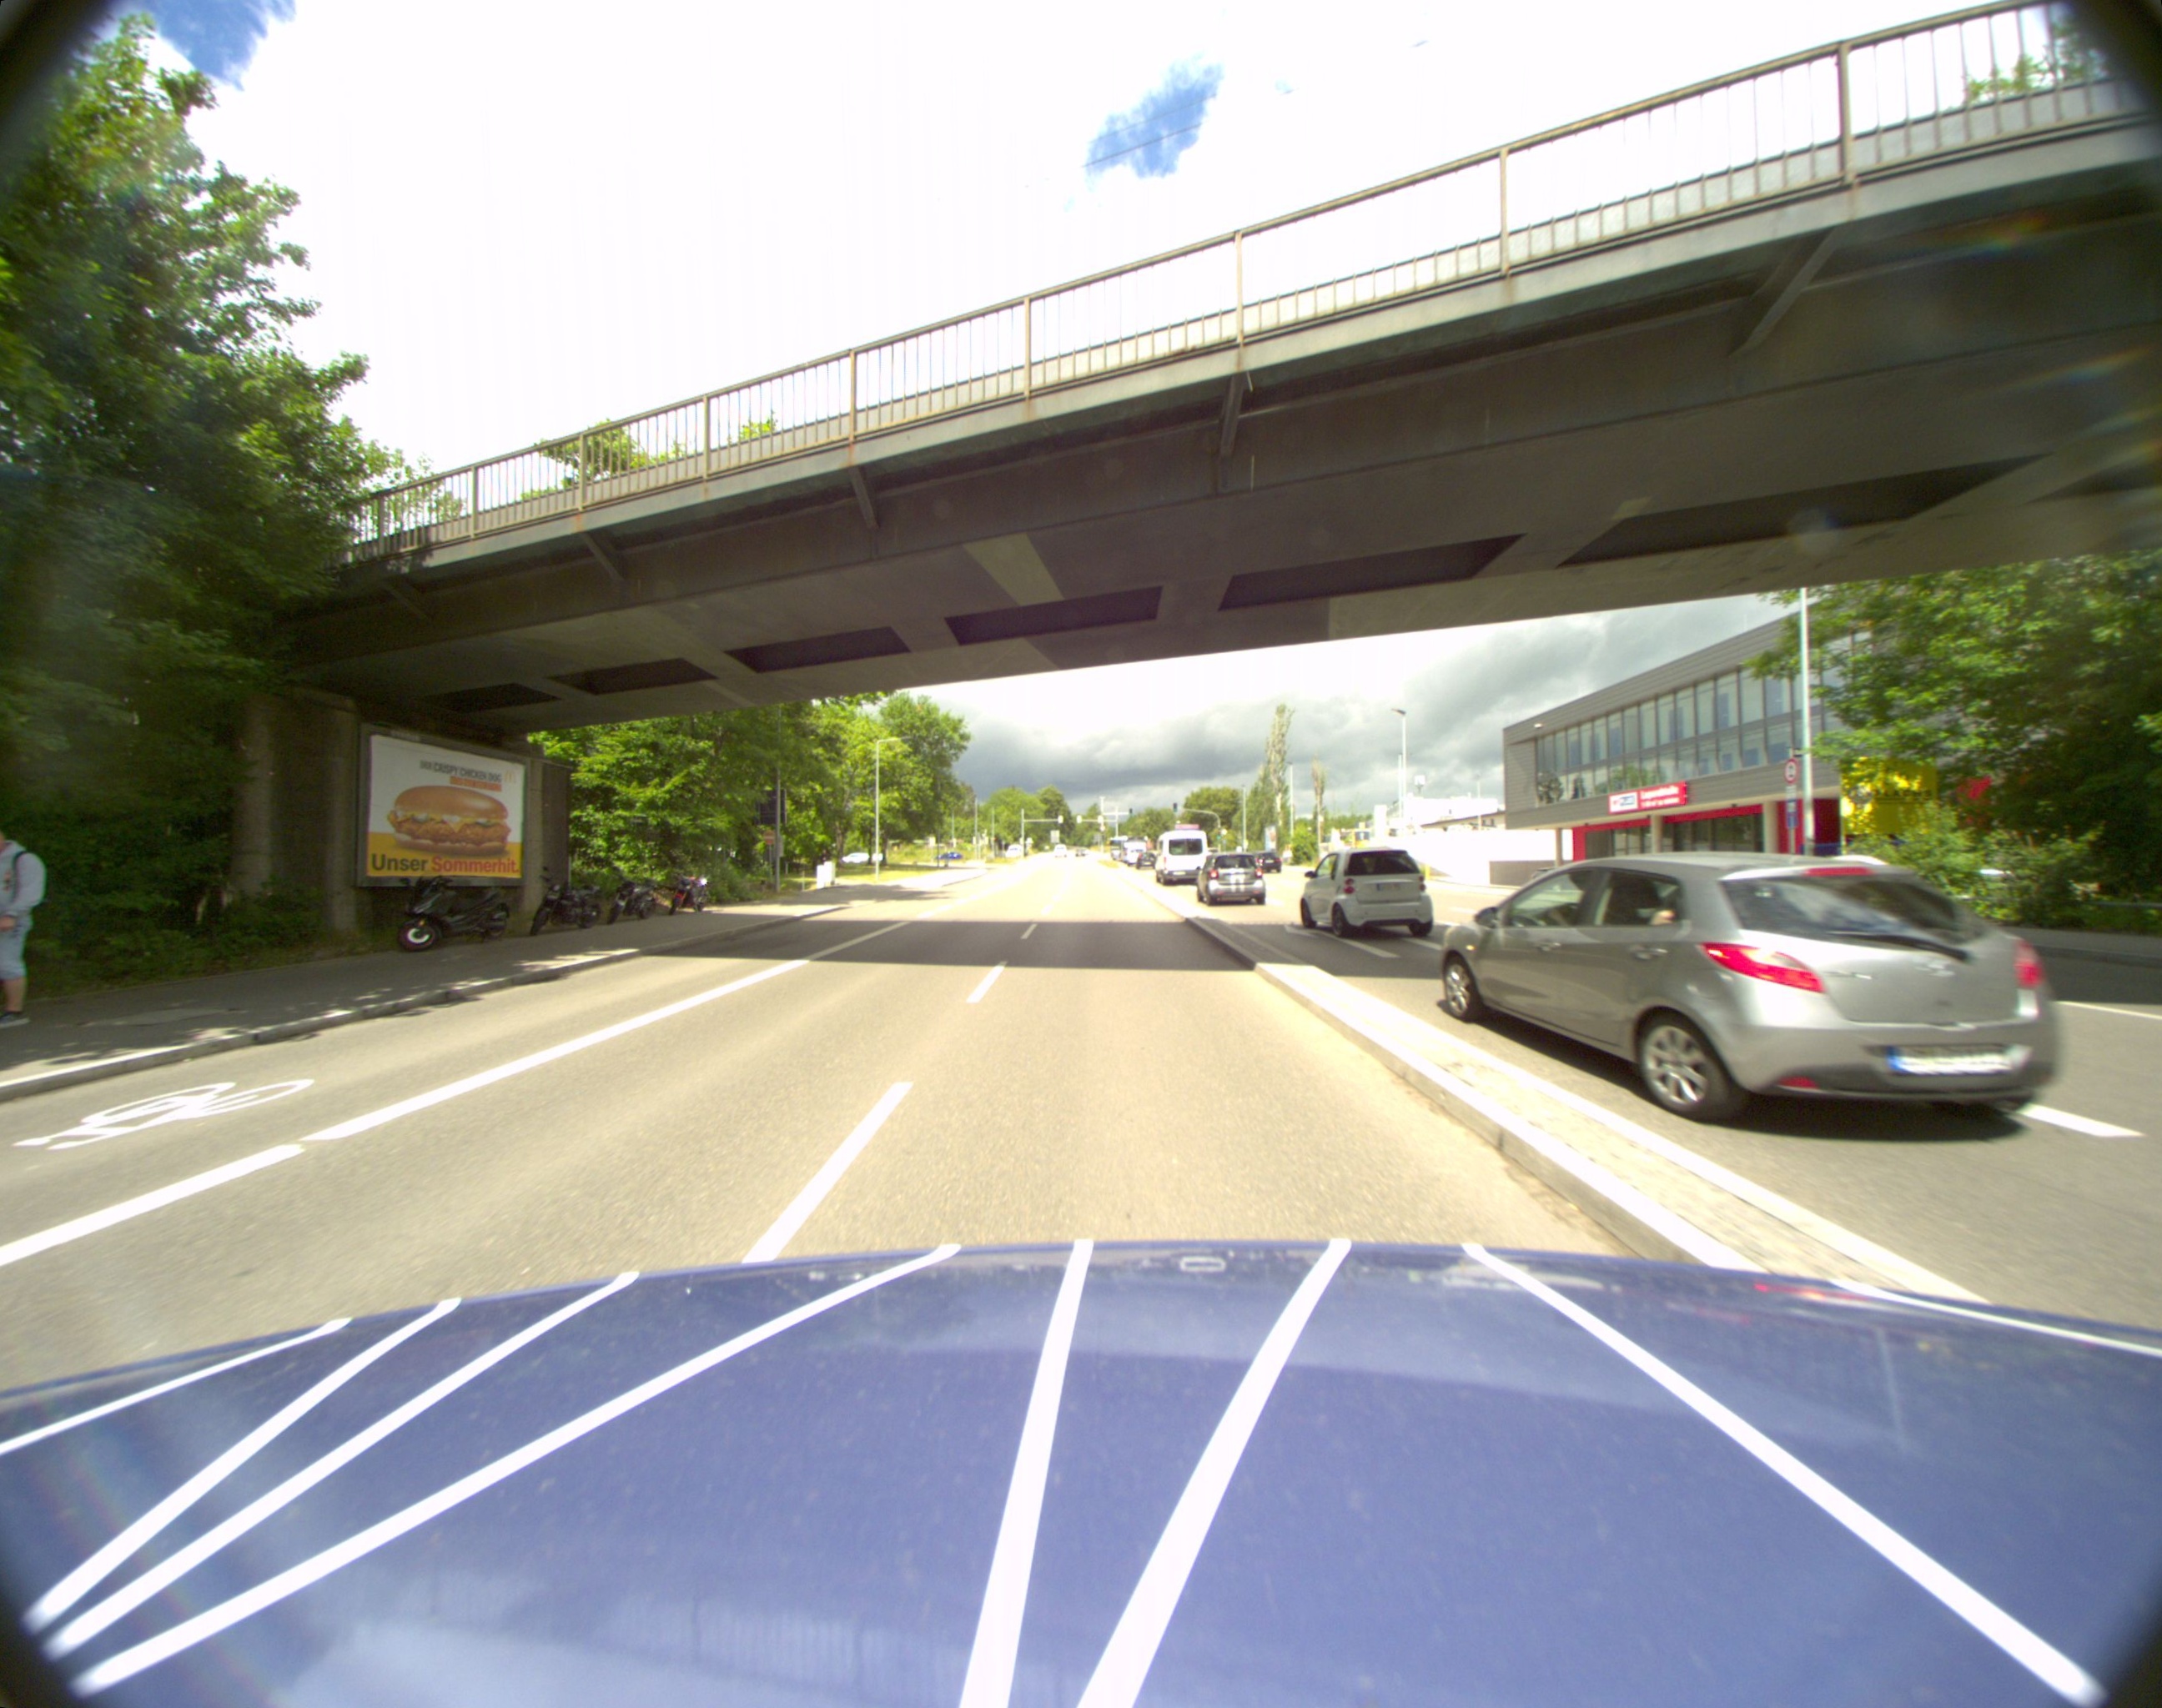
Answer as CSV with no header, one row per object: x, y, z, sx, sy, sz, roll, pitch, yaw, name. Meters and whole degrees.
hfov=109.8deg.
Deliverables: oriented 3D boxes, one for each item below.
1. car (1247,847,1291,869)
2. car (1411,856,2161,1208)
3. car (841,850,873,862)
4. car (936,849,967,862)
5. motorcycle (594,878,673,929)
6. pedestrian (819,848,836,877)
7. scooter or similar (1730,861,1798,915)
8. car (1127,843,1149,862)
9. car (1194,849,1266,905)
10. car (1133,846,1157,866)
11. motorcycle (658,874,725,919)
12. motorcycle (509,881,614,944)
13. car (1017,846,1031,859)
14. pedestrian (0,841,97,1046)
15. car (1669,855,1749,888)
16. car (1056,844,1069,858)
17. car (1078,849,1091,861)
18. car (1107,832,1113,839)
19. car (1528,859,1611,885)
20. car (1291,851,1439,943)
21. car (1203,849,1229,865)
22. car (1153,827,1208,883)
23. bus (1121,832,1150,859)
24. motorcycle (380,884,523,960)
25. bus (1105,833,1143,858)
12.115,0.220,49.166,1.998,1.346,4.001,-1,0,3,car
3.993,0.779,5.271,1.713,1.480,3.984,-1,0,1,car
-31.757,0.292,107.887,4.081,1.735,1.999,0,0,-5,car
-18.576,0.221,108.844,4.079,1.735,2.000,0,0,0,car
-10.729,1.159,18.302,0.679,1.076,2.038,0,0,0,motorcycle
-16.257,0.539,48.761,0.952,1.801,0.717,0,1,-22,pedestrian
14.872,0.723,16.574,0.477,1.114,1.386,0,0,13,scooter or similar
5.570,-0.149,75.238,1.827,1.796,4.255,-2,0,0,car
4.325,0.642,22.424,1.572,1.522,2.738,-2,0,0,car
5.406,0.181,64.533,1.640,1.582,4.255,-2,0,0,car
-10.588,1.129,20.734,0.679,1.076,2.180,0,0,0,motorcycle
-10.702,1.167,15.763,0.679,1.136,2.160,0,0,0,motorcycle
-8.850,-0.219,117.588,1.999,1.888,4.081,0,1,-3,car
-10.320,0.824,7.099,0.791,1.876,1.097,0,1,1,pedestrian
30.760,0.823,37.304,1.571,1.573,2.846,0,0,0,car
-3.093,-0.465,128.675,1.999,2.267,3.998,-1,0,-4,car
0.583,0.206,129.667,1.998,2.002,4.000,-2,0,1,car
8.736,-5.629,229.498,1.998,2.002,4.001,-2,0,2,car
30.738,1.122,47.866,3.997,1.608,1.959,0,0,0,car
5.111,0.705,14.077,1.509,1.480,3.115,-1,0,-1,car
12.781,0.274,72.219,1.998,1.478,4.001,-1,0,3,car
4.703,0.048,36.784,2.045,2.458,5.573,-2,0,2,car
6.326,-1.033,89.279,2.650,2.929,8.536,-2,1,0,bus
-10.973,1.151,13.366,0.679,1.148,2.113,0,0,2,motorcycle
5.457,-1.106,97.915,2.652,2.919,9.777,-3,1,-10,bus
